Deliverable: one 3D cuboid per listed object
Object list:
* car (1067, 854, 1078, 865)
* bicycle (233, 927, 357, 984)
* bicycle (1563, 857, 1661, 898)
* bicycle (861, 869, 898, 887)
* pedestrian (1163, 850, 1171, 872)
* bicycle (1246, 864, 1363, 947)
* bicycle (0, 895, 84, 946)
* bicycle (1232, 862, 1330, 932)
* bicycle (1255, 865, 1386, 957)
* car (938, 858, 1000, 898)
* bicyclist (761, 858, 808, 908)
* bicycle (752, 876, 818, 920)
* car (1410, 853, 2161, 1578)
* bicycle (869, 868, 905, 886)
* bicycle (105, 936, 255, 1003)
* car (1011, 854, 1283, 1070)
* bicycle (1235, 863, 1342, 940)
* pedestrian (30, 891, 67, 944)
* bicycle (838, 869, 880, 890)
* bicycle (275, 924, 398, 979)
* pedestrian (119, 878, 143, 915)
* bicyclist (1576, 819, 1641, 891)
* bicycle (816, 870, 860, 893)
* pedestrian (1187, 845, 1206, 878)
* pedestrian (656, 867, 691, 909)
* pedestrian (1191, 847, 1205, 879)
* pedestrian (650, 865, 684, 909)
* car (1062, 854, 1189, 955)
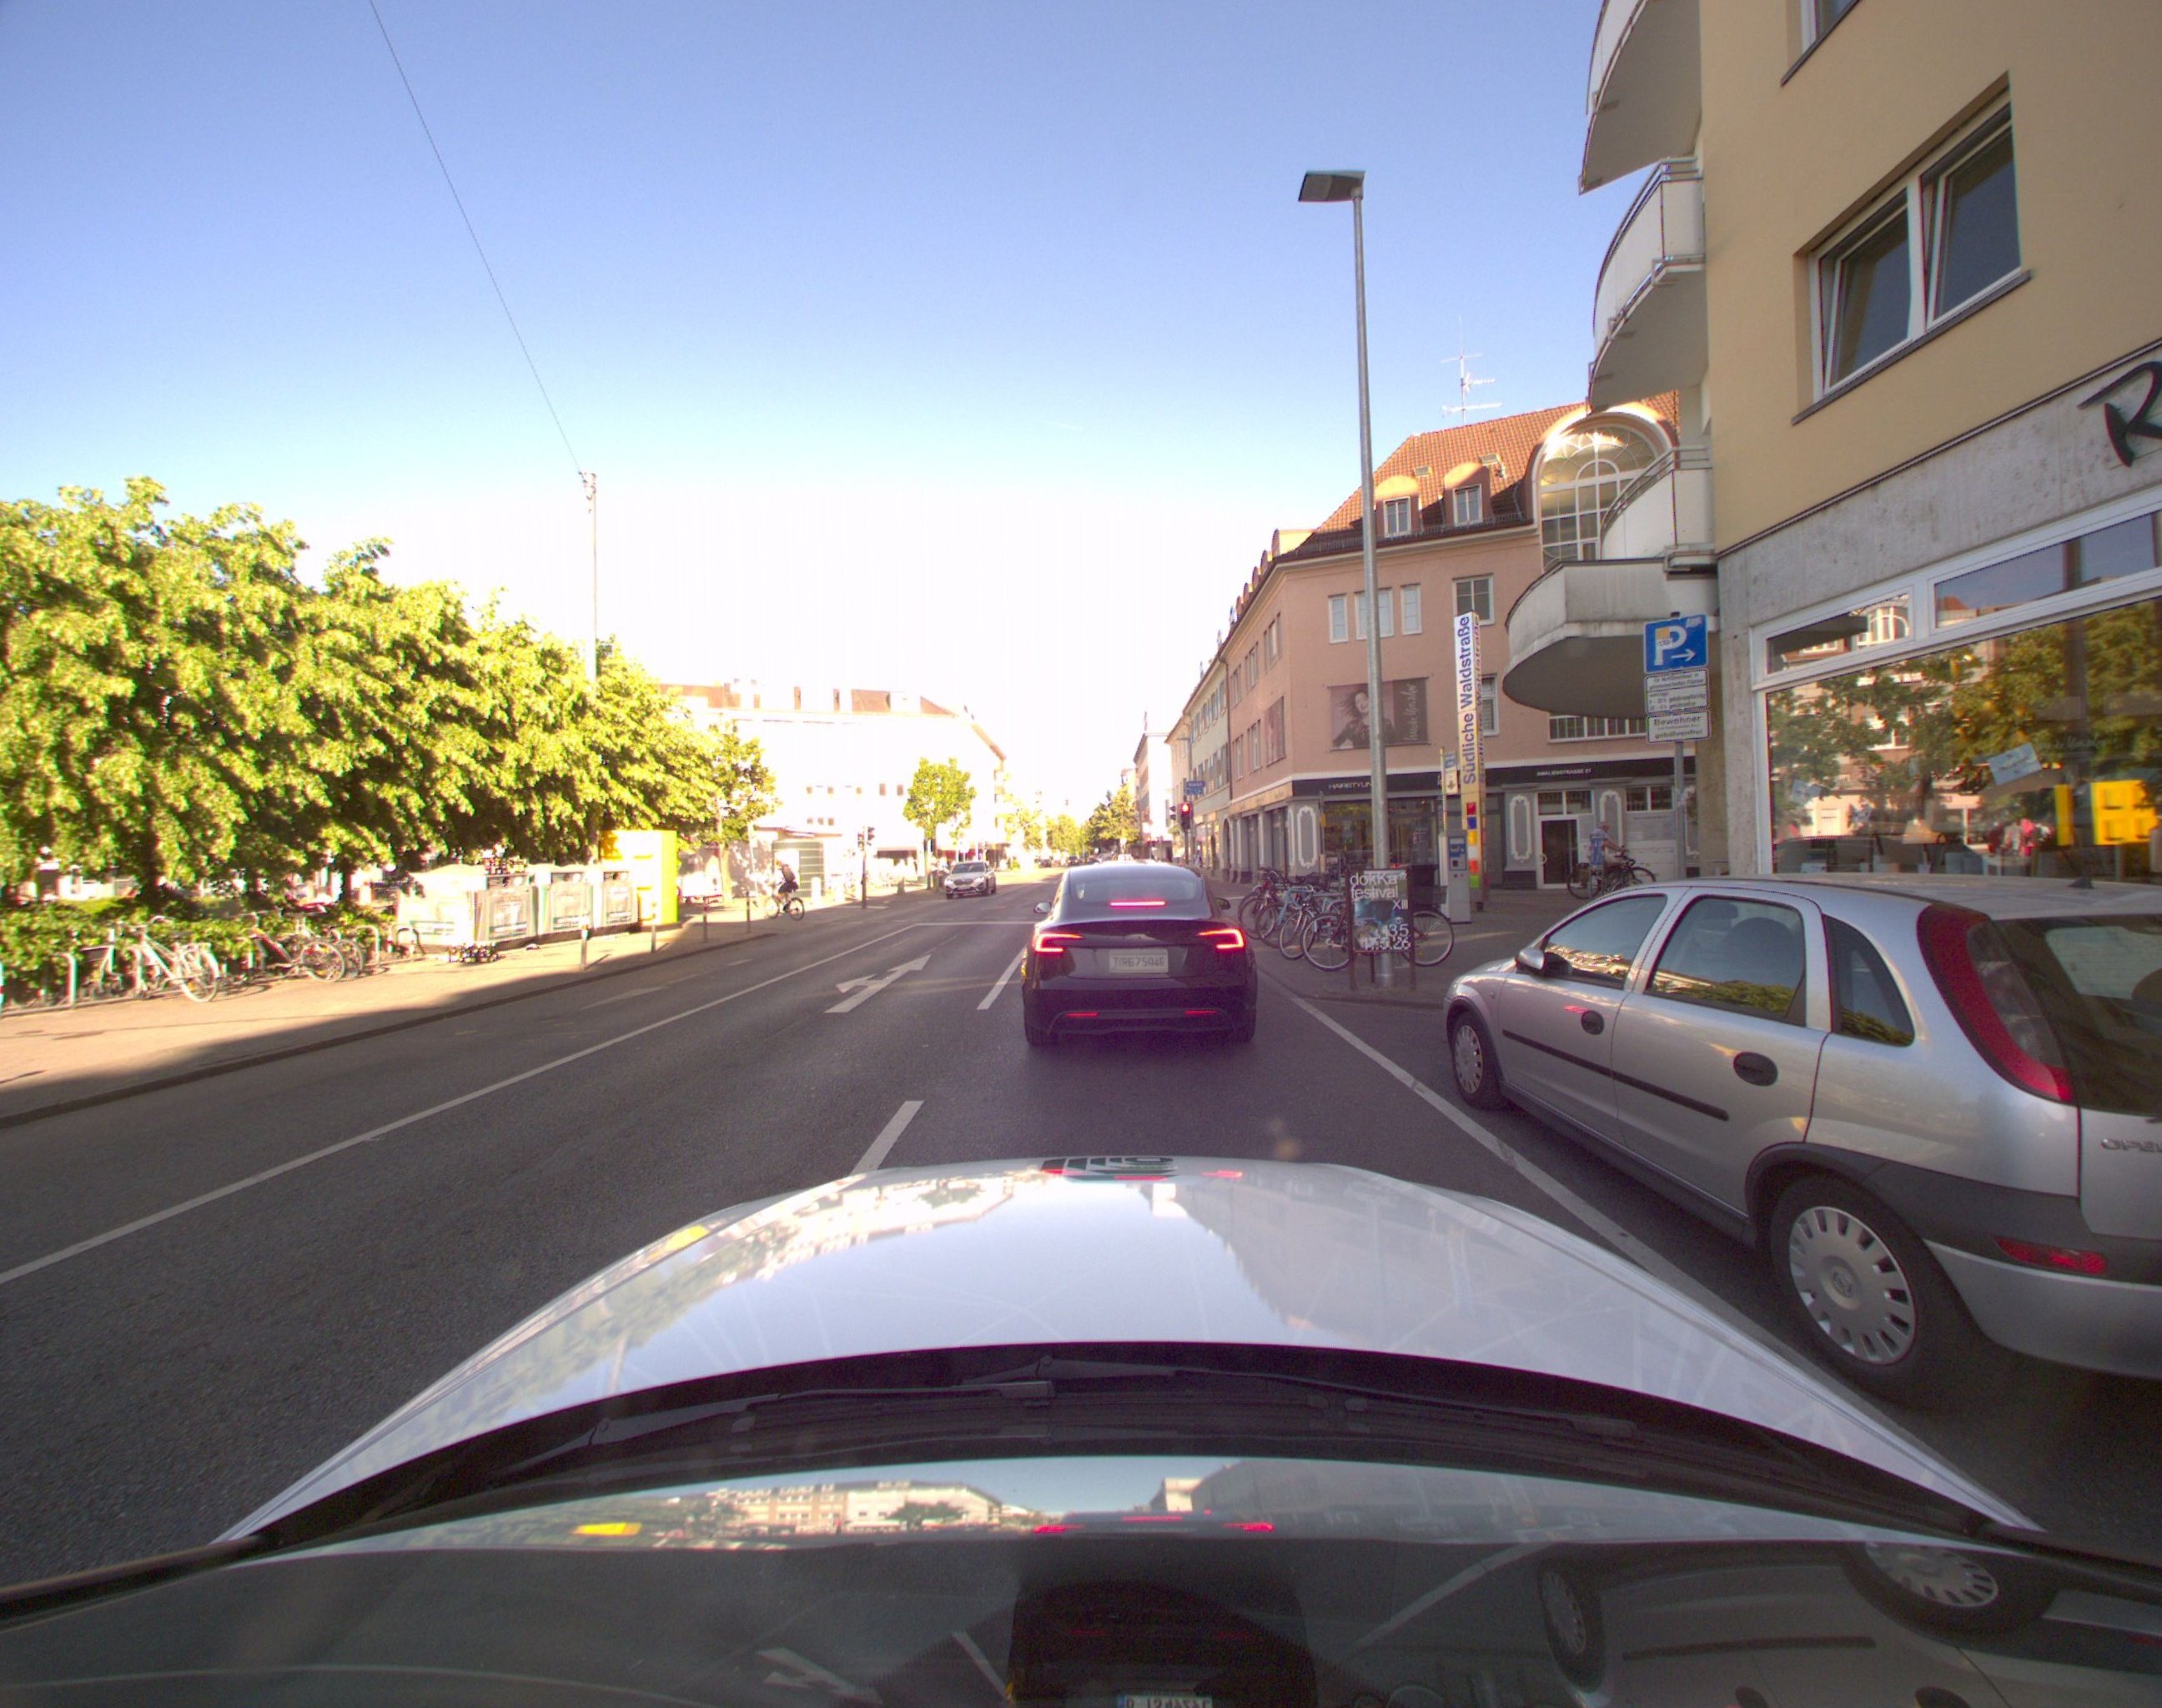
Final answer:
[{"bbox_3d":[-1.444,0.965,139.803,1.824,1.724,4.000,-1,0,0],"label":"car"},{"bbox_3d":[-11.347,1.455,11.769,1.465,0.769,0.442,-1,-1,6],"label":"bicycle"},{"bbox_3d":[12.623,0.550,19.401,1.850,0.946,0.631,0,0,12],"label":"bicycle"},{"bbox_3d":[-12.483,1.485,50.424,2.075,1.104,0.806,-1,0,1],"label":"bicycle"},{"bbox_3d":[6.701,0.571,63.798,0.568,1.691,0.387,-1,0,1],"label":"pedestrian"},{"bbox_3d":[3.410,0.780,12.483,1.622,1.160,0.433,-3,0,0],"label":"bicycle"},{"bbox_3d":[-22.945,1.425,17.391,0.498,1.017,2.068,-1,-1,15],"label":"bicycle"},{"bbox_3d":[3.618,0.770,14.801,1.621,1.160,0.433,-3,0,2],"label":"bicycle"},{"bbox_3d":[3.285,0.775,11.244,1.622,1.160,0.433,-3,0,0],"label":"bicycle"},{"bbox_3d":[-4.921,1.021,36.339,1.986,1.541,4.002,-5,0,2],"label":"car"},{"bbox_3d":[-8.793,0.856,24.140,0.996,1.435,0.803,-1,0,24],"label":"bicyclist"},{"bbox_3d":[-8.762,1.290,24.137,1.752,1.233,0.803,-1,0,24],"label":"bicycle"},{"bbox_3d":[2.950,0.711,3.525,1.615,1.394,3.888,-1,0,3],"label":"car"},{"bbox_3d":[-12.526,1.456,52.620,2.075,1.104,0.806,-1,0,1],"label":"bicycle"},{"bbox_3d":[-11.468,1.451,10.371,1.645,0.769,0.476,-1,-1,10],"label":"bicycle"},{"bbox_3d":[0.539,0.752,7.518,1.842,1.455,3.788,-1,0,3],"label":"car"},{"bbox_3d":[3.442,0.781,13.582,1.622,1.160,0.433,-3,0,0],"label":"bicycle"},{"bbox_3d":[-39.957,2.444,31.530,0.577,2.014,0.682,-1,-1,9],"label":"pedestrian"},{"bbox_3d":[-12.436,1.444,45.645,2.075,1.104,0.806,-1,0,1],"label":"bicycle"},{"bbox_3d":[-11.253,1.463,12.325,1.466,0.769,0.475,-1,-1,4],"label":"bicycle"},{"bbox_3d":[-47.398,2.100,40.636,0.576,1.792,0.604,-1,-1,19],"label":"pedestrian"},{"bbox_3d":[12.561,0.025,19.416,1.112,1.654,0.631,-1,0,12],"label":"bicyclist"},{"bbox_3d":[-12.853,1.453,43.133,2.075,1.104,0.806,-1,0,1],"label":"bicycle"},{"bbox_3d":[6.595,0.444,46.551,0.995,1.850,0.615,-1,0,1],"label":"pedestrian"},{"bbox_3d":[-16.433,1.373,32.863,0.981,1.636,0.738,-1,0,5],"label":"pedestrian"},{"bbox_3d":[6.683,0.504,46.622,0.701,1.783,0.534,-1,0,1],"label":"pedestrian"},{"bbox_3d":[-16.662,1.317,32.788,0.897,1.725,0.745,-1,0,5],"label":"pedestrian"},{"bbox_3d":[0.744,0.757,13.934,1.842,1.455,3.788,-1,0,3],"label":"car"}]
